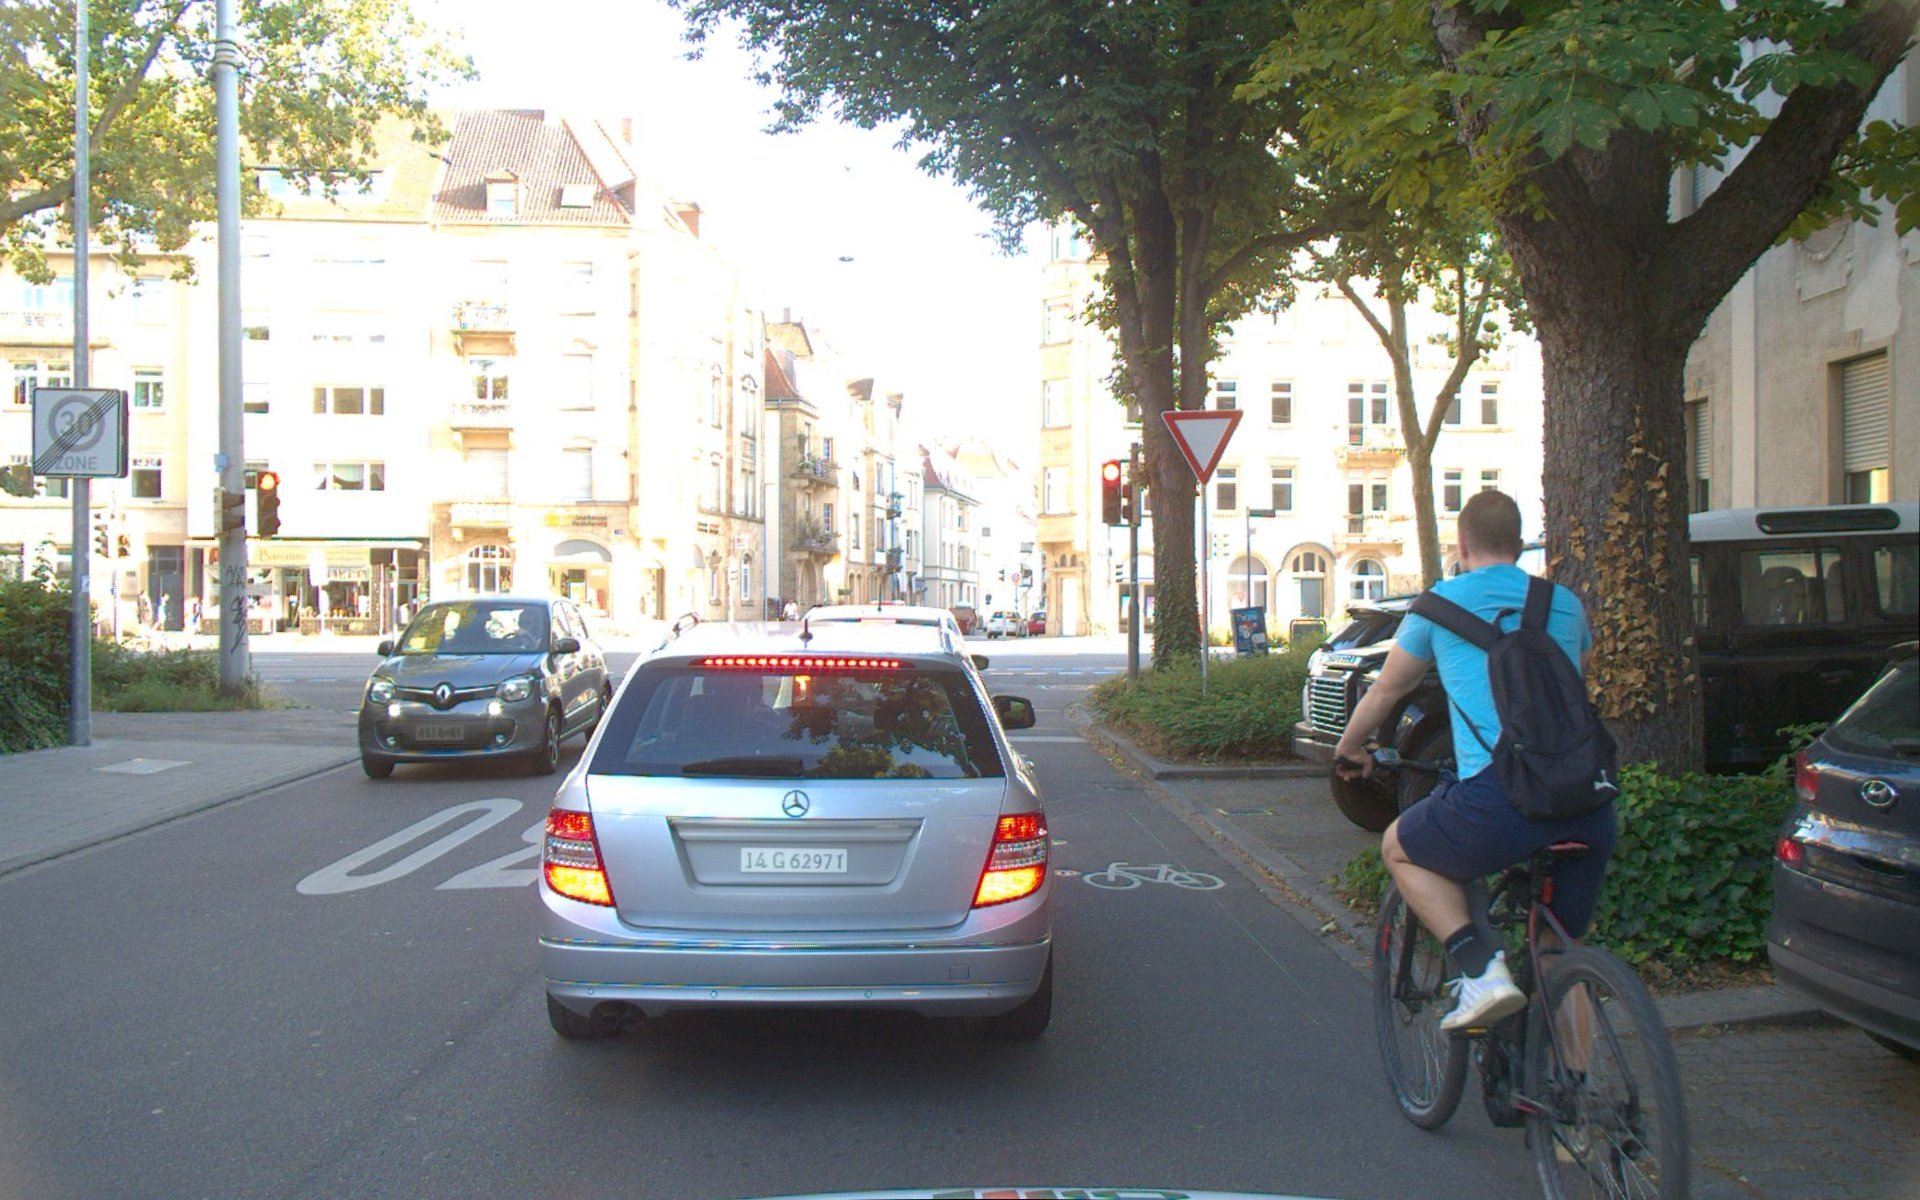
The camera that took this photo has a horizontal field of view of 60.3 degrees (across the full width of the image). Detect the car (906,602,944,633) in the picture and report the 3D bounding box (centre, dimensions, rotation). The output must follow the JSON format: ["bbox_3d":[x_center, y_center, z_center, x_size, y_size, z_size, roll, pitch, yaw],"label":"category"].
[{"bbox_3d":[-2.126,1.097,102.304,1.615,1.814,3.866,0,-1,10],"label":"car"}]

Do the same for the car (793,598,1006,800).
[{"bbox_3d":[-0.502,0.703,13.576,1.502,1.415,3.597,0,0,-2],"label":"car"}]

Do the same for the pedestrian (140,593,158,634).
[{"bbox_3d":[-30.685,0.510,62.586,0.557,1.537,0.499,0,0,-20],"label":"pedestrian"}]

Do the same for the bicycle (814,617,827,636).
[{"bbox_3d":[-6.164,1.168,73.153,0.557,0.849,1.564,0,0,-4],"label":"bicycle"}]

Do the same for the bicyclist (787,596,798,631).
[{"bbox_3d":[-7.416,0.604,73.256,0.457,1.541,0.655,0,0,-4],"label":"bicyclist"}]

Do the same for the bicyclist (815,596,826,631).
[{"bbox_3d":[-6.181,0.595,73.242,0.457,1.547,0.693,0,0,-4],"label":"bicyclist"}]

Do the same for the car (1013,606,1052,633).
[{"bbox_3d":[4.486,1.187,102.113,1.684,1.503,4.004,-4,0,11],"label":"car"}]

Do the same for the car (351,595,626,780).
[{"bbox_3d":[-4.281,0.724,15.553,1.582,1.528,3.592,0,0,-1],"label":"car"}]

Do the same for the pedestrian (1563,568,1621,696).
[{"bbox_3d":[9.391,0.464,24.587,0.619,1.877,0.574,0,0,-5],"label":"pedestrian"}]

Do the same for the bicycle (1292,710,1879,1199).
[{"bbox_3d":[1.449,0.932,4.299,0.727,1.137,2.013,1,0,-1],"label":"bicycle"}]

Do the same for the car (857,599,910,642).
[{"bbox_3d":[-3.662,0.963,79.728,1.896,1.993,4.153,0,0,7],"label":"car"}]

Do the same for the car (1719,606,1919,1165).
[{"bbox_3d":[4.310,0.691,4.553,3.675,1.446,1.627,-2,-1,-4],"label":"car"}]

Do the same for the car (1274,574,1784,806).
[{"bbox_3d":[4.421,0.653,13.139,3.415,1.614,1.708,-1,0,-7],"label":"car"}]

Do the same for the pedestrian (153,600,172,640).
[{"bbox_3d":[-30.664,0.762,63.562,0.498,1.537,0.536,0,0,-5],"label":"pedestrian"}]

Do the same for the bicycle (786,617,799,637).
[{"bbox_3d":[-7.407,1.186,73.161,0.557,0.849,1.564,0,0,-4],"label":"bicycle"}]

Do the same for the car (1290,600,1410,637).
[{"bbox_3d":[11.758,0.556,49.956,3.296,1.087,1.380,0,0,-2],"label":"car"}]

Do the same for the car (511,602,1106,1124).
[{"bbox_3d":[-0.520,0.755,6.442,1.657,1.454,3.490,1,0,-3],"label":"car"}]

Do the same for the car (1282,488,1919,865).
[{"bbox_3d":[4.418,0.396,10.231,4.402,1.990,1.791,-2,0,-4],"label":"car"}]

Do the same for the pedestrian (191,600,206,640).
[{"bbox_3d":[-29.467,0.752,63.996,0.466,1.537,0.428,0,0,-21],"label":"pedestrian"}]

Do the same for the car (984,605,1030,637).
[{"bbox_3d":[2.489,1.058,85.906,1.684,1.504,4.004,-2,0,11],"label":"car"}]

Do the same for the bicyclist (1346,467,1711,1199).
[{"bbox_3d":[1.431,0.598,4.294,0.633,1.806,0.830,1,-1,-1],"label":"bicyclist"}]
